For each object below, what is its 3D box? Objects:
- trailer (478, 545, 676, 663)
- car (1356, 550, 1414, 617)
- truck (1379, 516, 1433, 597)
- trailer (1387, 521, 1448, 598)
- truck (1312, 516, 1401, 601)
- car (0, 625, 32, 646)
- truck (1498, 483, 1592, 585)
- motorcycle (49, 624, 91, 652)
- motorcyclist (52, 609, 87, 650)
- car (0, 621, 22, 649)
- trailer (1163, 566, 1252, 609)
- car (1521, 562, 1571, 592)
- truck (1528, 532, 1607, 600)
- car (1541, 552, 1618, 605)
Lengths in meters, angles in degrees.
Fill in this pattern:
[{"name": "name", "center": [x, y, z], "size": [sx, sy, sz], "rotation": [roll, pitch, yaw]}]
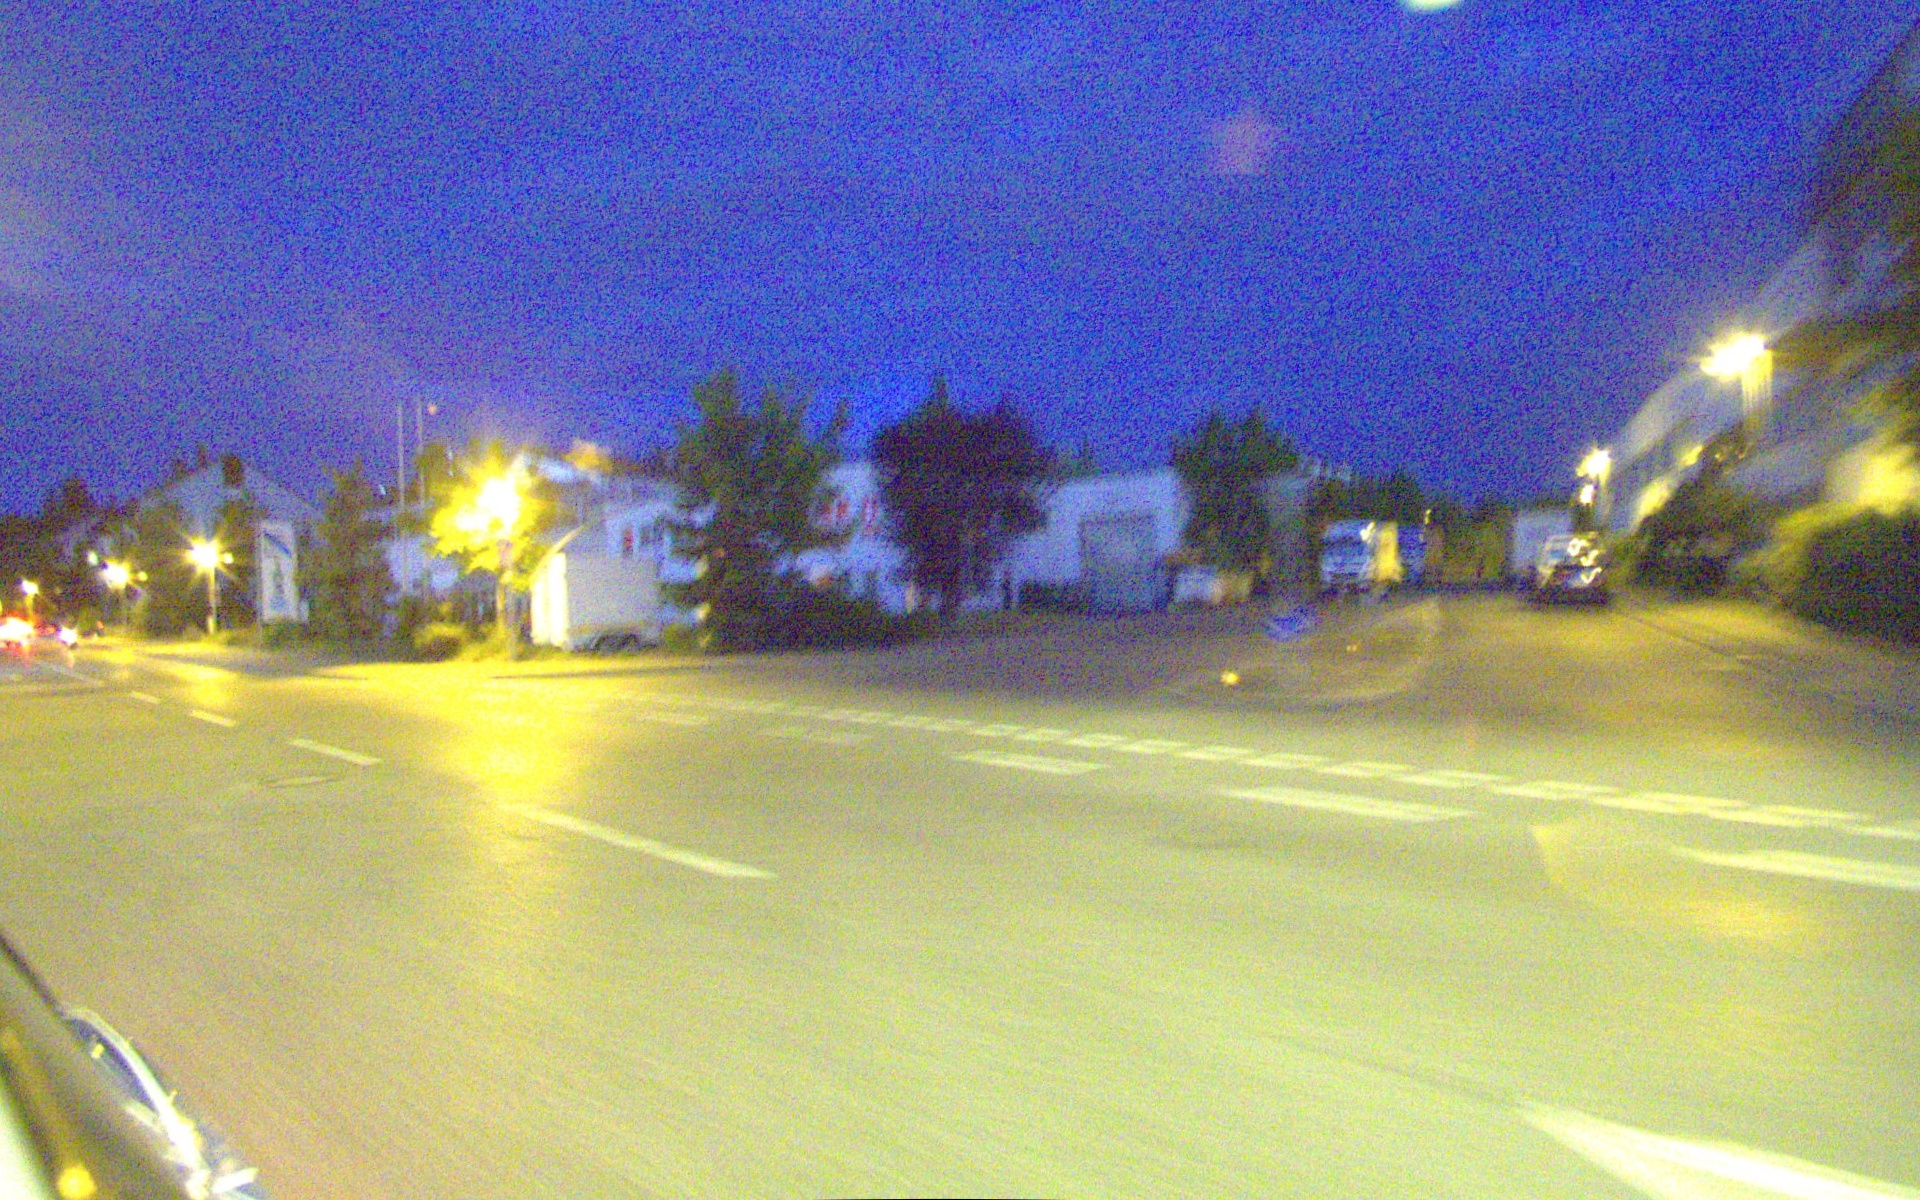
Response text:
[{"name": "trailer", "center": [-9.699, 0.137, 25.849], "size": [2.000, 2.741, 4.301], "rotation": [-3, -2, 42]}, {"name": "car", "center": [26.302, -0.920, 62.492], "size": [2.897, 3.909, 6.167], "rotation": [-1, -1, 26]}, {"name": "truck", "center": [33.335, -3.138, 75.562], "size": [2.928, 5.625, 5.208], "rotation": [-2, -2, 31]}, {"name": "trailer", "center": [37.164, -3.052, 81.970], "size": [2.915, 5.590, 12.448], "rotation": [-2, -2, 31]}, {"name": "truck", "center": [20.474, -1.926, 51.830], "size": [2.863, 3.755, 9.506], "rotation": [-2, -2, 29]}, {"name": "car", "center": [-71.378, 2.644, 75.986], "size": [4.911, 1.456, 1.830], "rotation": [-2, 0, 39]}, {"name": "truck", "center": [33.046, -3.444, 57.804], "size": [3.461, 4.846, 17.245], "rotation": [-2, 1, 27]}, {"name": "motorcycle", "center": [-43.069, 1.833, 48.968], "size": [2.822, 1.314, 0.988], "rotation": [-1, 0, 37]}, {"name": "motorcyclist", "center": [-43.118, 1.430, 49.004], "size": [0.832, 1.914, 1.123], "rotation": [-1, 0, 37]}, {"name": "car", "center": [-59.295, 2.147, 62.238], "size": [4.752, 1.639, 1.972], "rotation": [-1, 0, 43]}, {"name": "trailer", "center": [10.469, -0.550, 42.604], "size": [1.875, 1.634, 5.180], "rotation": [-2, 1, 35]}, {"name": "car", "center": [27.035, -1.054, 46.765], "size": [1.773, 1.253, 3.536], "rotation": [-2, 0, 27]}, {"name": "truck", "center": [23.695, -1.323, 39.674], "size": [2.152, 2.407, 4.999], "rotation": [-2, 1, 26]}, {"name": "car", "center": [20.653, -0.716, 33.884], "size": [1.902, 1.601, 4.307], "rotation": [-2, 1, 28]}]
